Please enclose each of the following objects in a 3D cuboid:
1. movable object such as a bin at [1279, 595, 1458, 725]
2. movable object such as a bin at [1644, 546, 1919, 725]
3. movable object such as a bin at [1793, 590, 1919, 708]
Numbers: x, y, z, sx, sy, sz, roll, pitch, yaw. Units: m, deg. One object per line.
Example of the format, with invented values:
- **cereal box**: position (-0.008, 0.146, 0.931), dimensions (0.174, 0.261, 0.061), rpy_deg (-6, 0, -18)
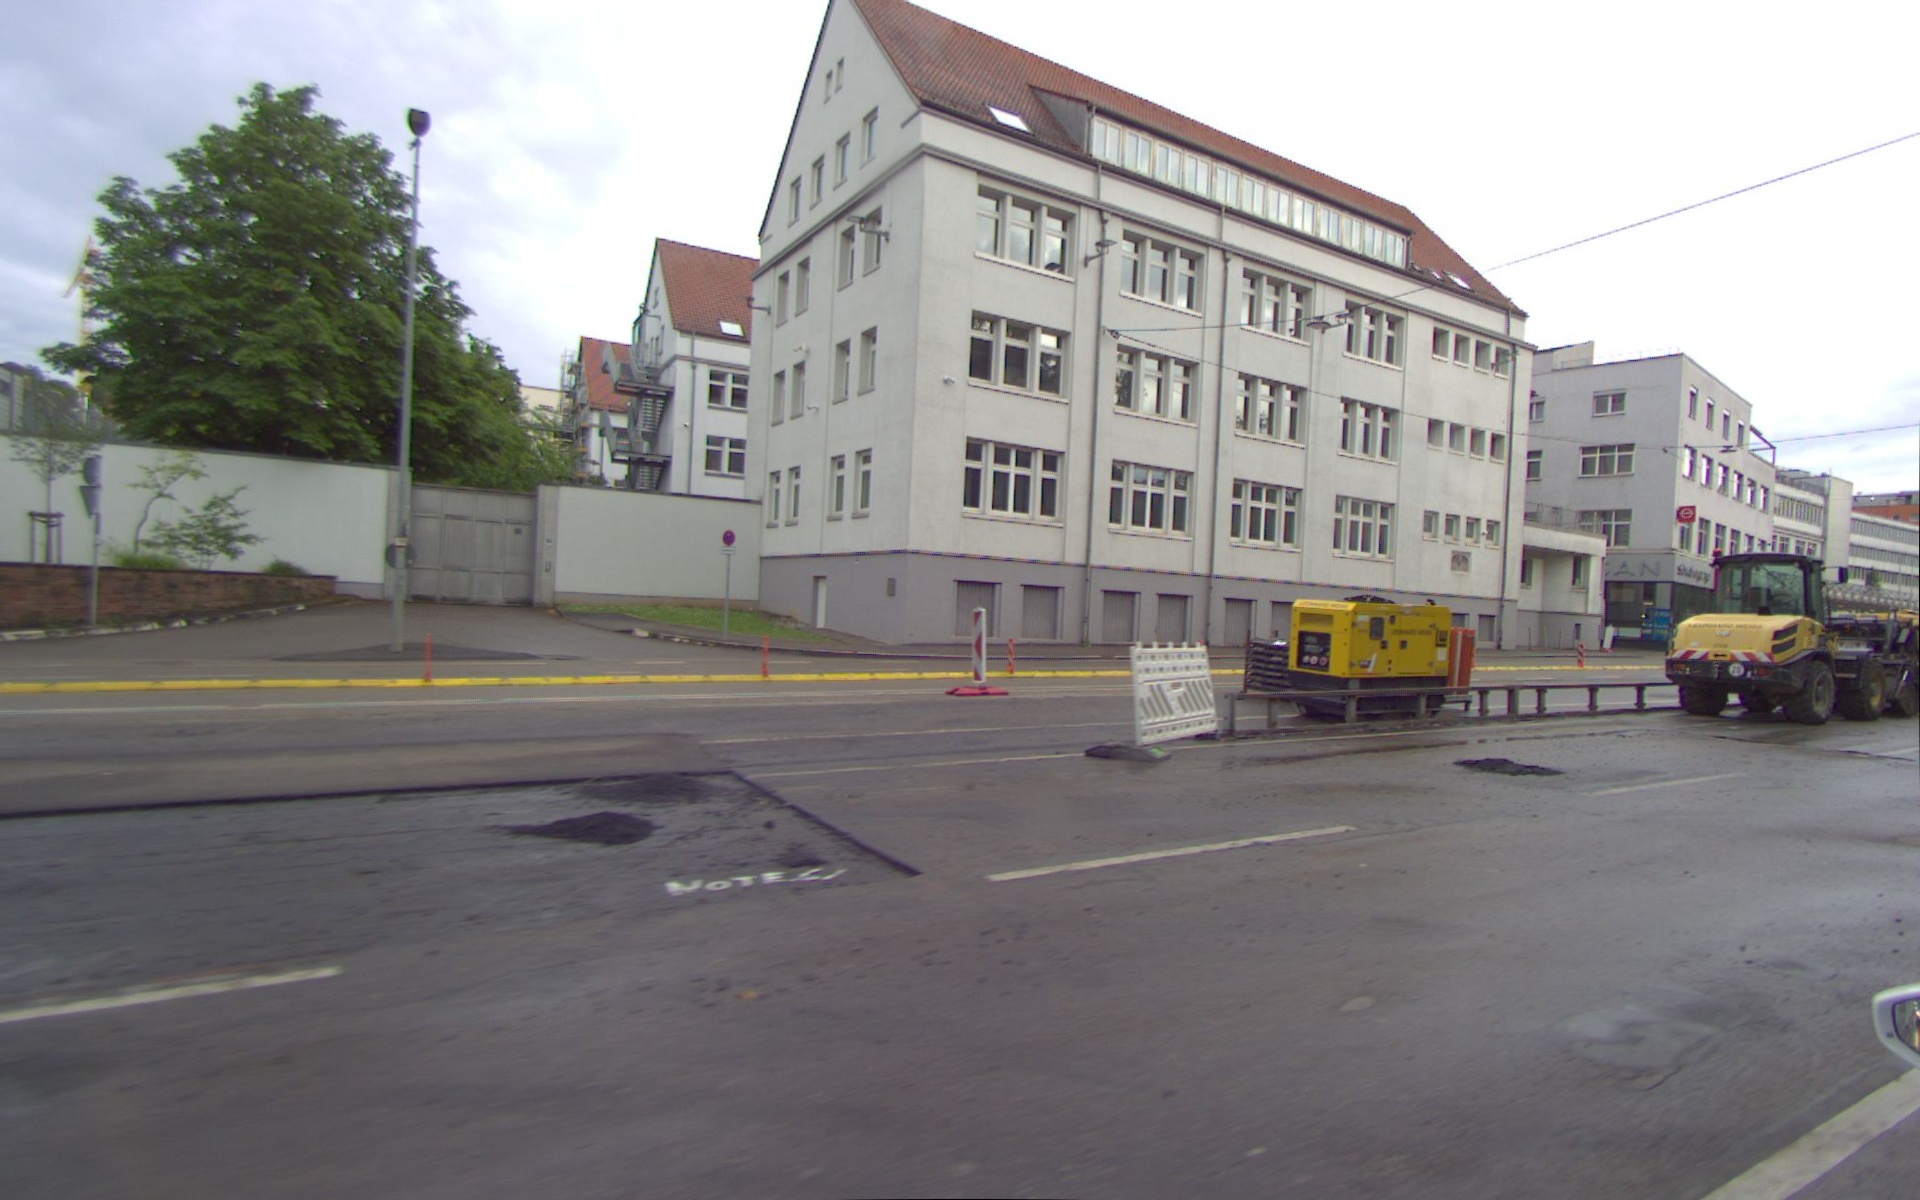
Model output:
- **movable object such as a bin**: position (5.776, 0.807, 14.158), dimensions (2.411, 1.666, 1.078), rpy_deg (2, 1, -31)
- **movable object such as a bin**: position (13.998, 0.569, 16.995), dimensions (5.320, 2.644, 1.893), rpy_deg (1, 0, -31)
- **movable object such as a bin**: position (18.403, 0.930, 19.865), dimensions (4.971, 2.118, 1.356), rpy_deg (1, 0, -31)
